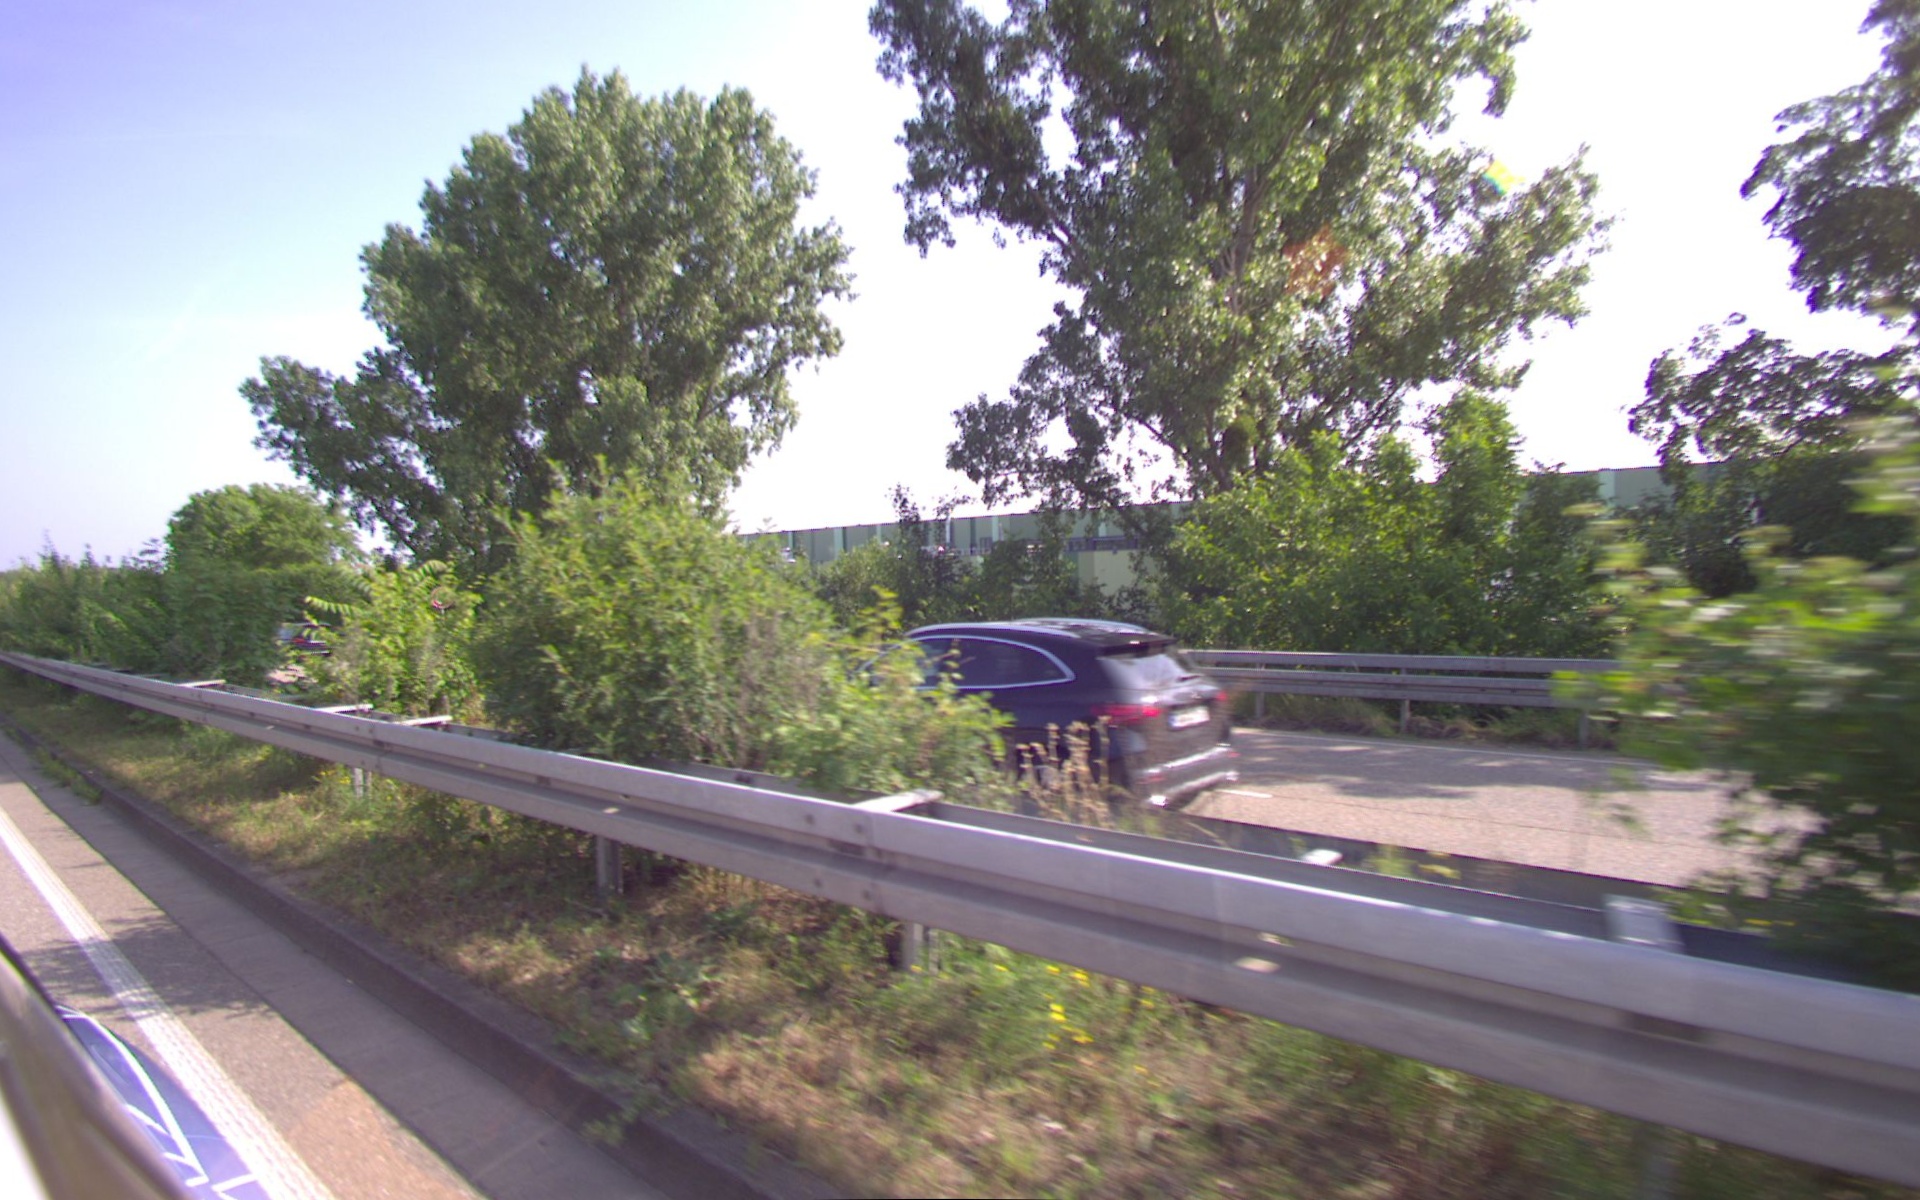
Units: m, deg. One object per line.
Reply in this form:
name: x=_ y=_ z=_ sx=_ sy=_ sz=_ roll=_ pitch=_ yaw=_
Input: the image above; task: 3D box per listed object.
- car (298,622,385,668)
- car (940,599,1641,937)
car: x=-21.622 y=1.561 z=35.346 sx=3.717 sy=1.495 sz=1.537 roll=-2 pitch=-1 yaw=41
car: x=1.986 y=0.845 z=6.907 sx=4.205 sy=1.606 sz=1.744 roll=-1 pitch=-2 yaw=42
